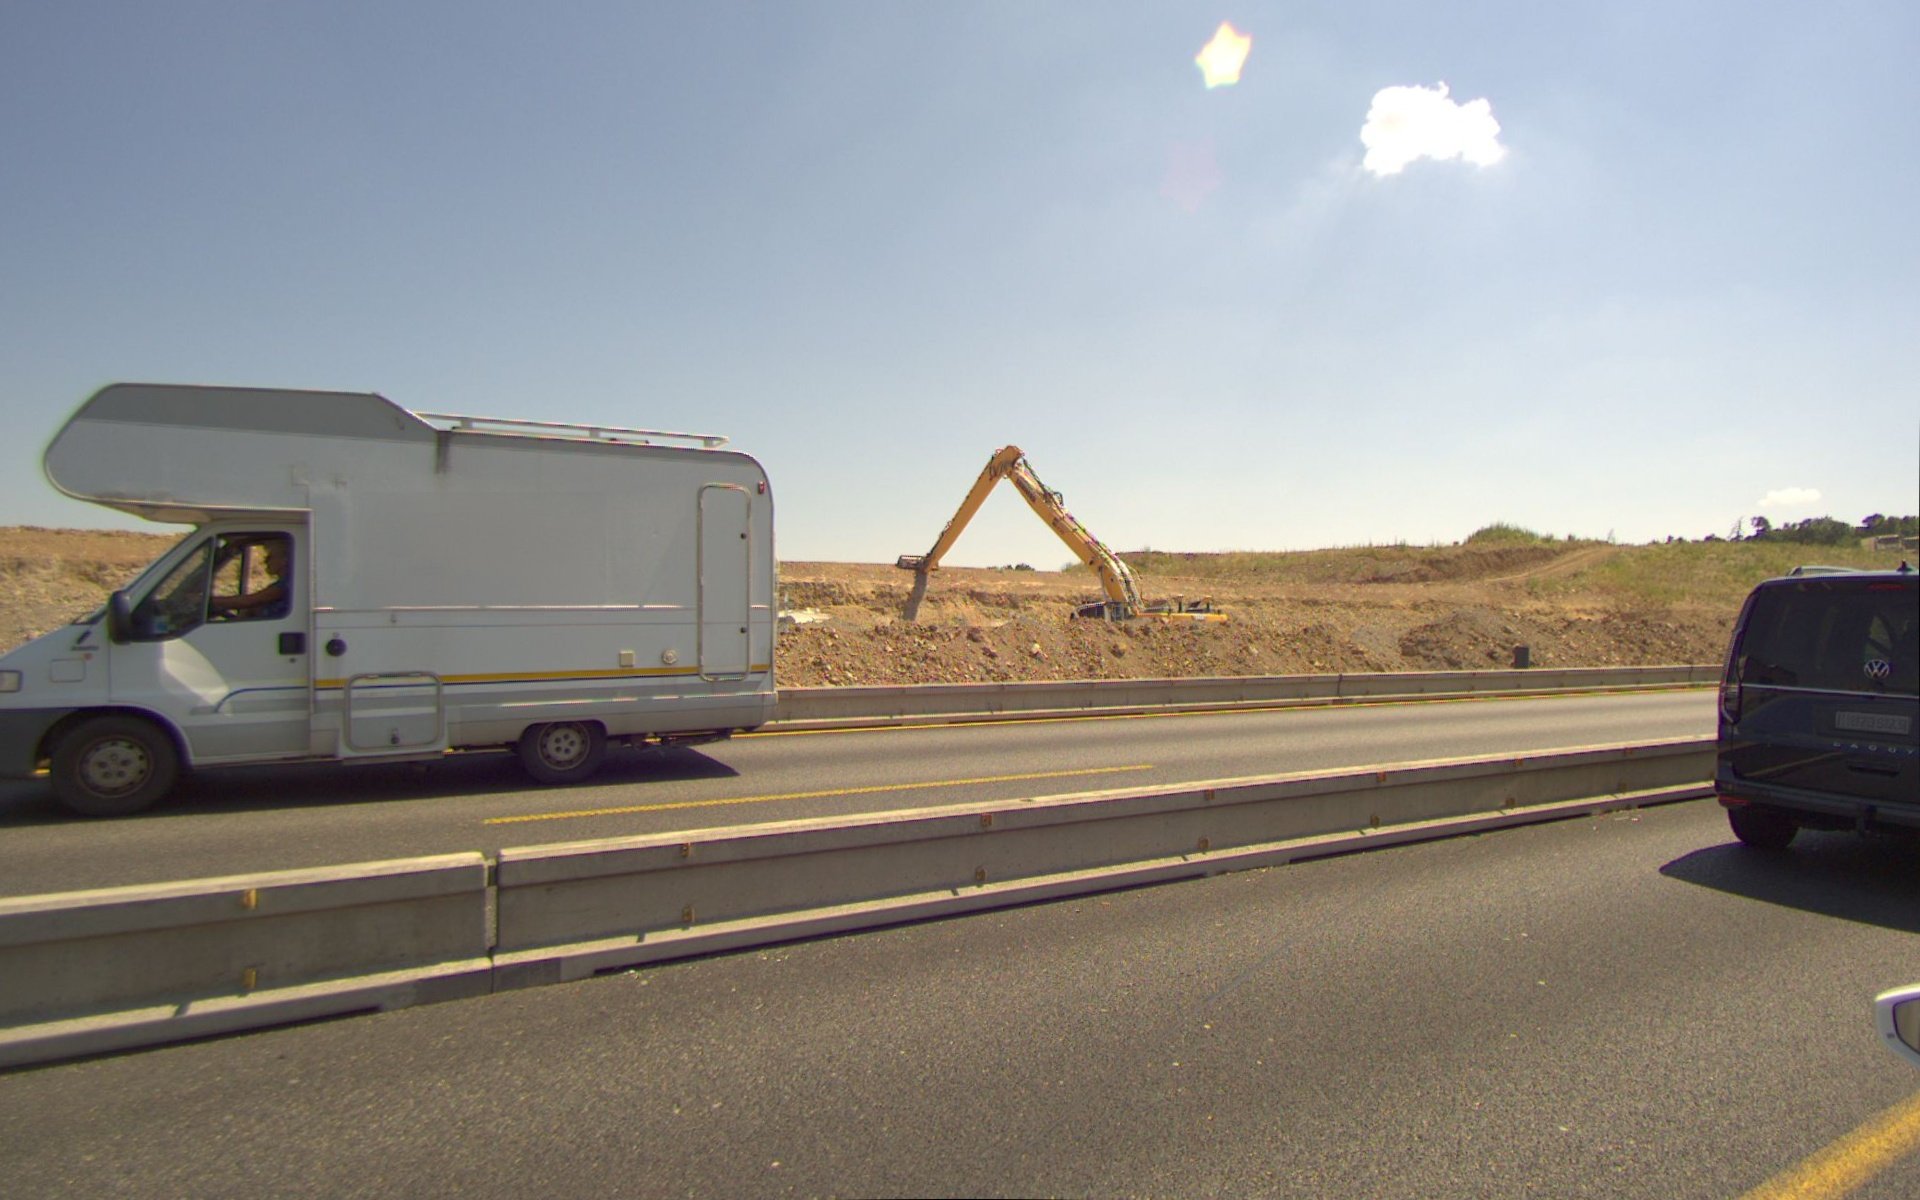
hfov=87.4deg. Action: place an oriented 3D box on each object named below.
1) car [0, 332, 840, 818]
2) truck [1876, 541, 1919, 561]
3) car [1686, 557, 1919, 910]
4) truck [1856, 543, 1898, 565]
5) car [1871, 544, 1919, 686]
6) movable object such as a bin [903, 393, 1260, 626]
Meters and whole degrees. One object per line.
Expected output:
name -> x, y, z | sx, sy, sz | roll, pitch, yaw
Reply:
car -> -4.157, -0.090, 8.538 | 5.780, 2.995, 2.240 | 2, 0, -30
truck -> 149.456, -7.777, 160.179 | 2.259, 2.785, 8.900 | 2, 0, 24
car -> 6.975, 0.722, 6.647 | 4.726, 1.849, 1.743 | 1, 1, -30
truck -> 142.826, -7.202, 156.500 | 2.317, 2.937, 8.361 | 2, 0, 24
car -> 29.410, 0.460, 28.571 | 7.995, 3.790, 2.894 | 1, 1, -30
movable object such as a bin -> 3.394, -2.776, 38.469 | 3.348, 6.863, 18.136 | 2, 0, -29
